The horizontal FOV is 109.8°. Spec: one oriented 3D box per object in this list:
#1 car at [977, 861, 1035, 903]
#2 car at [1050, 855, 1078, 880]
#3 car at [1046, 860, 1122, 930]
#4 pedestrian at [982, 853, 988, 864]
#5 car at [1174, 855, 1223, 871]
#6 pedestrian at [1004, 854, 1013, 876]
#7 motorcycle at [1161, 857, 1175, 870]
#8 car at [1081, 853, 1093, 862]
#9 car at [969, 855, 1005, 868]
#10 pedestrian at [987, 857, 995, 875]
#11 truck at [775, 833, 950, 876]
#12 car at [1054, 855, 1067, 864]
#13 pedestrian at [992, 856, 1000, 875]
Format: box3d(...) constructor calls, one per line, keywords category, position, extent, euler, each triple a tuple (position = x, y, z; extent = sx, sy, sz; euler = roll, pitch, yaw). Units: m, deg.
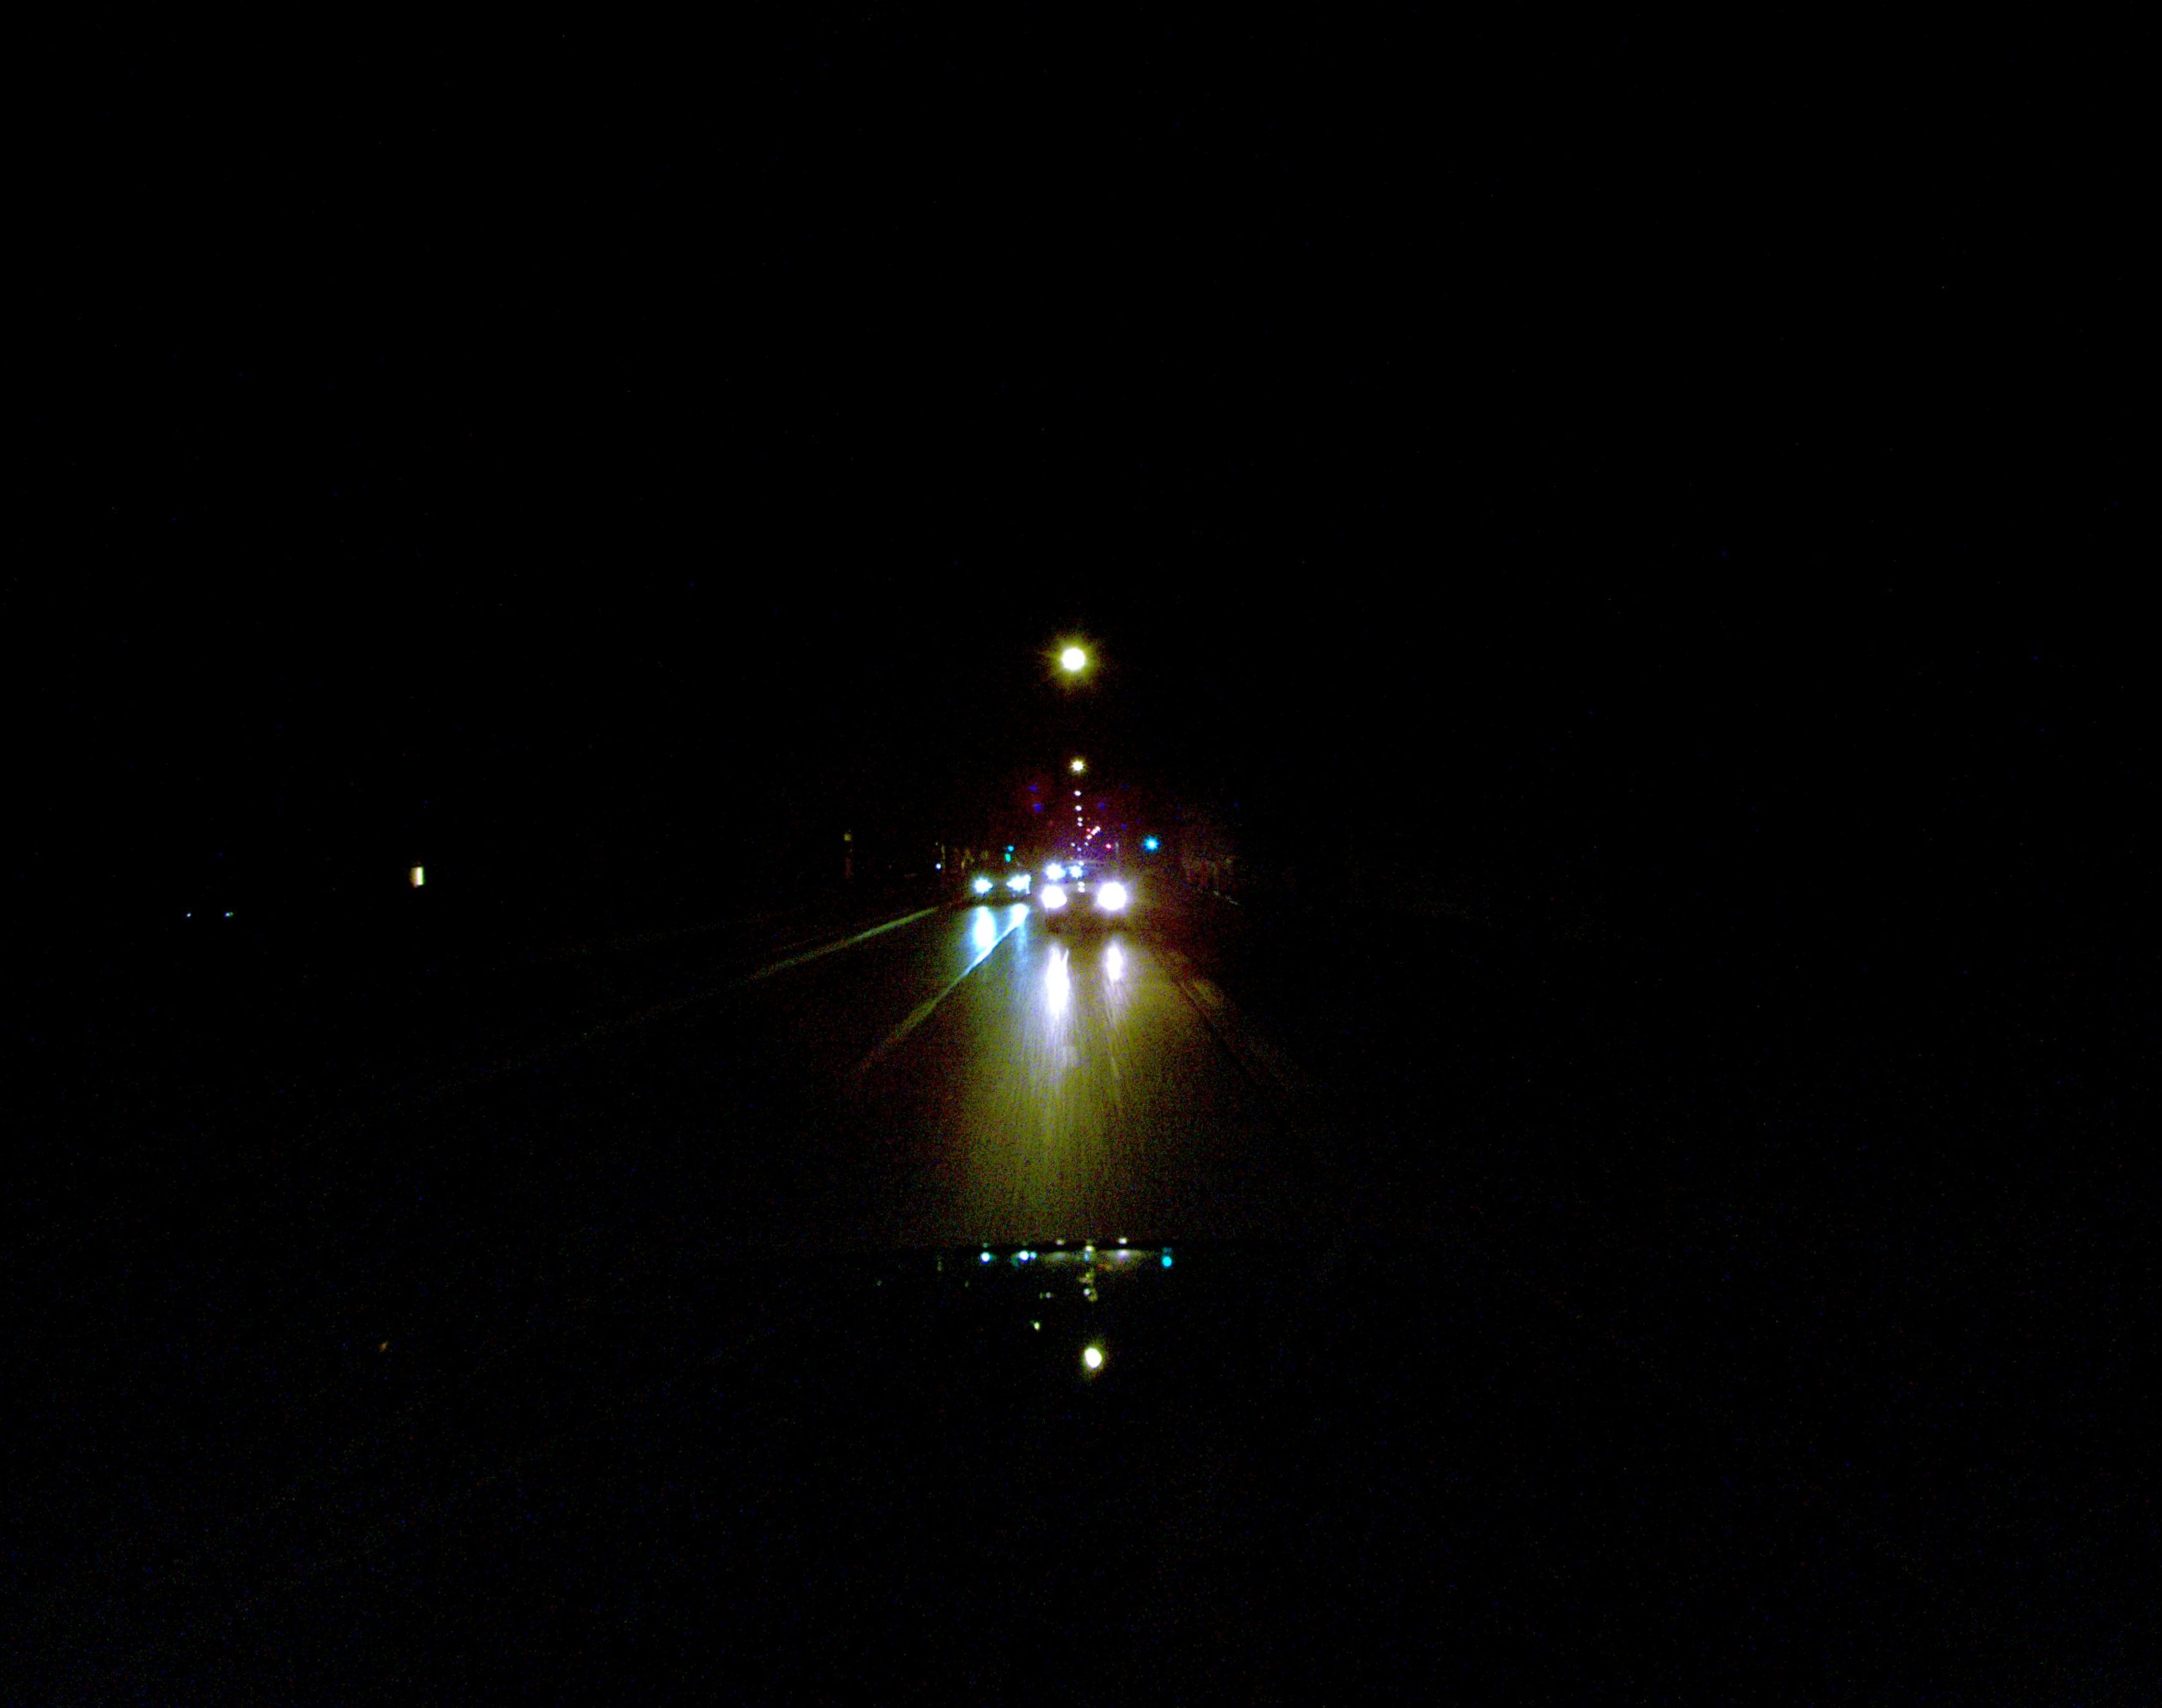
box3d(category="car", position=(-2.896, 1.046, 30.179), extent=(1.729, 1.421, 4.498), euler=(-2, 0, 1))
box3d(category="car", position=(-1.066, 0.836, 49.399), extent=(1.729, 1.455, 3.999), euler=(-1, 1, -1))
box3d(category="car", position=(0.142, 0.925, 18.850), extent=(1.634, 1.430, 3.840), euler=(-3, 0, 2))
box3d(category="pedestrian", position=(-14.757, 0.695, 117.074), extent=(0.721, 1.778, 0.970), euler=(-1, 1, 1))
box3d(category="car", position=(10.850, 0.834, 70.488), extent=(1.896, 1.416, 4.718), euler=(-1, 0, -31))
box3d(category="pedestrian", position=(-6.029, 0.882, 63.385), extent=(0.623, 1.801, 0.759), euler=(-1, 1, 1))
box3d(category="motorcycle", position=(8.410, 0.900, 73.612), extent=(0.574, 1.173, 2.029), euler=(-1, 0, -17))
box3d(category="car", position=(1.159, 0.673, 138.166), extent=(1.998, 1.626, 4.001), euler=(-1, 0, 3))
box3d(category="car", position=(-11.382, 0.907, 92.224), extent=(4.092, 1.446, 1.786), euler=(-1, 1, 0))
box3d(category="pedestrian", position=(-7.680, 1.036, 64.880), extent=(0.574, 1.525, 0.633), euler=(-1, 1, 1))
box3d(category="truck", position=(-22.107, 0.020, 77.584), extent=(16.821, 3.961, 3.131), euler=(-1, 1, 0))
box3d(category="car", position=(-3.228, 0.826, 120.653), extent=(1.619, 1.259, 3.628), euler=(-2, 0, 3))
box3d(category="pedestrian", position=(-7.102, 0.964, 63.449), extent=(0.622, 1.629, 0.679), euler=(-1, 1, 1))
